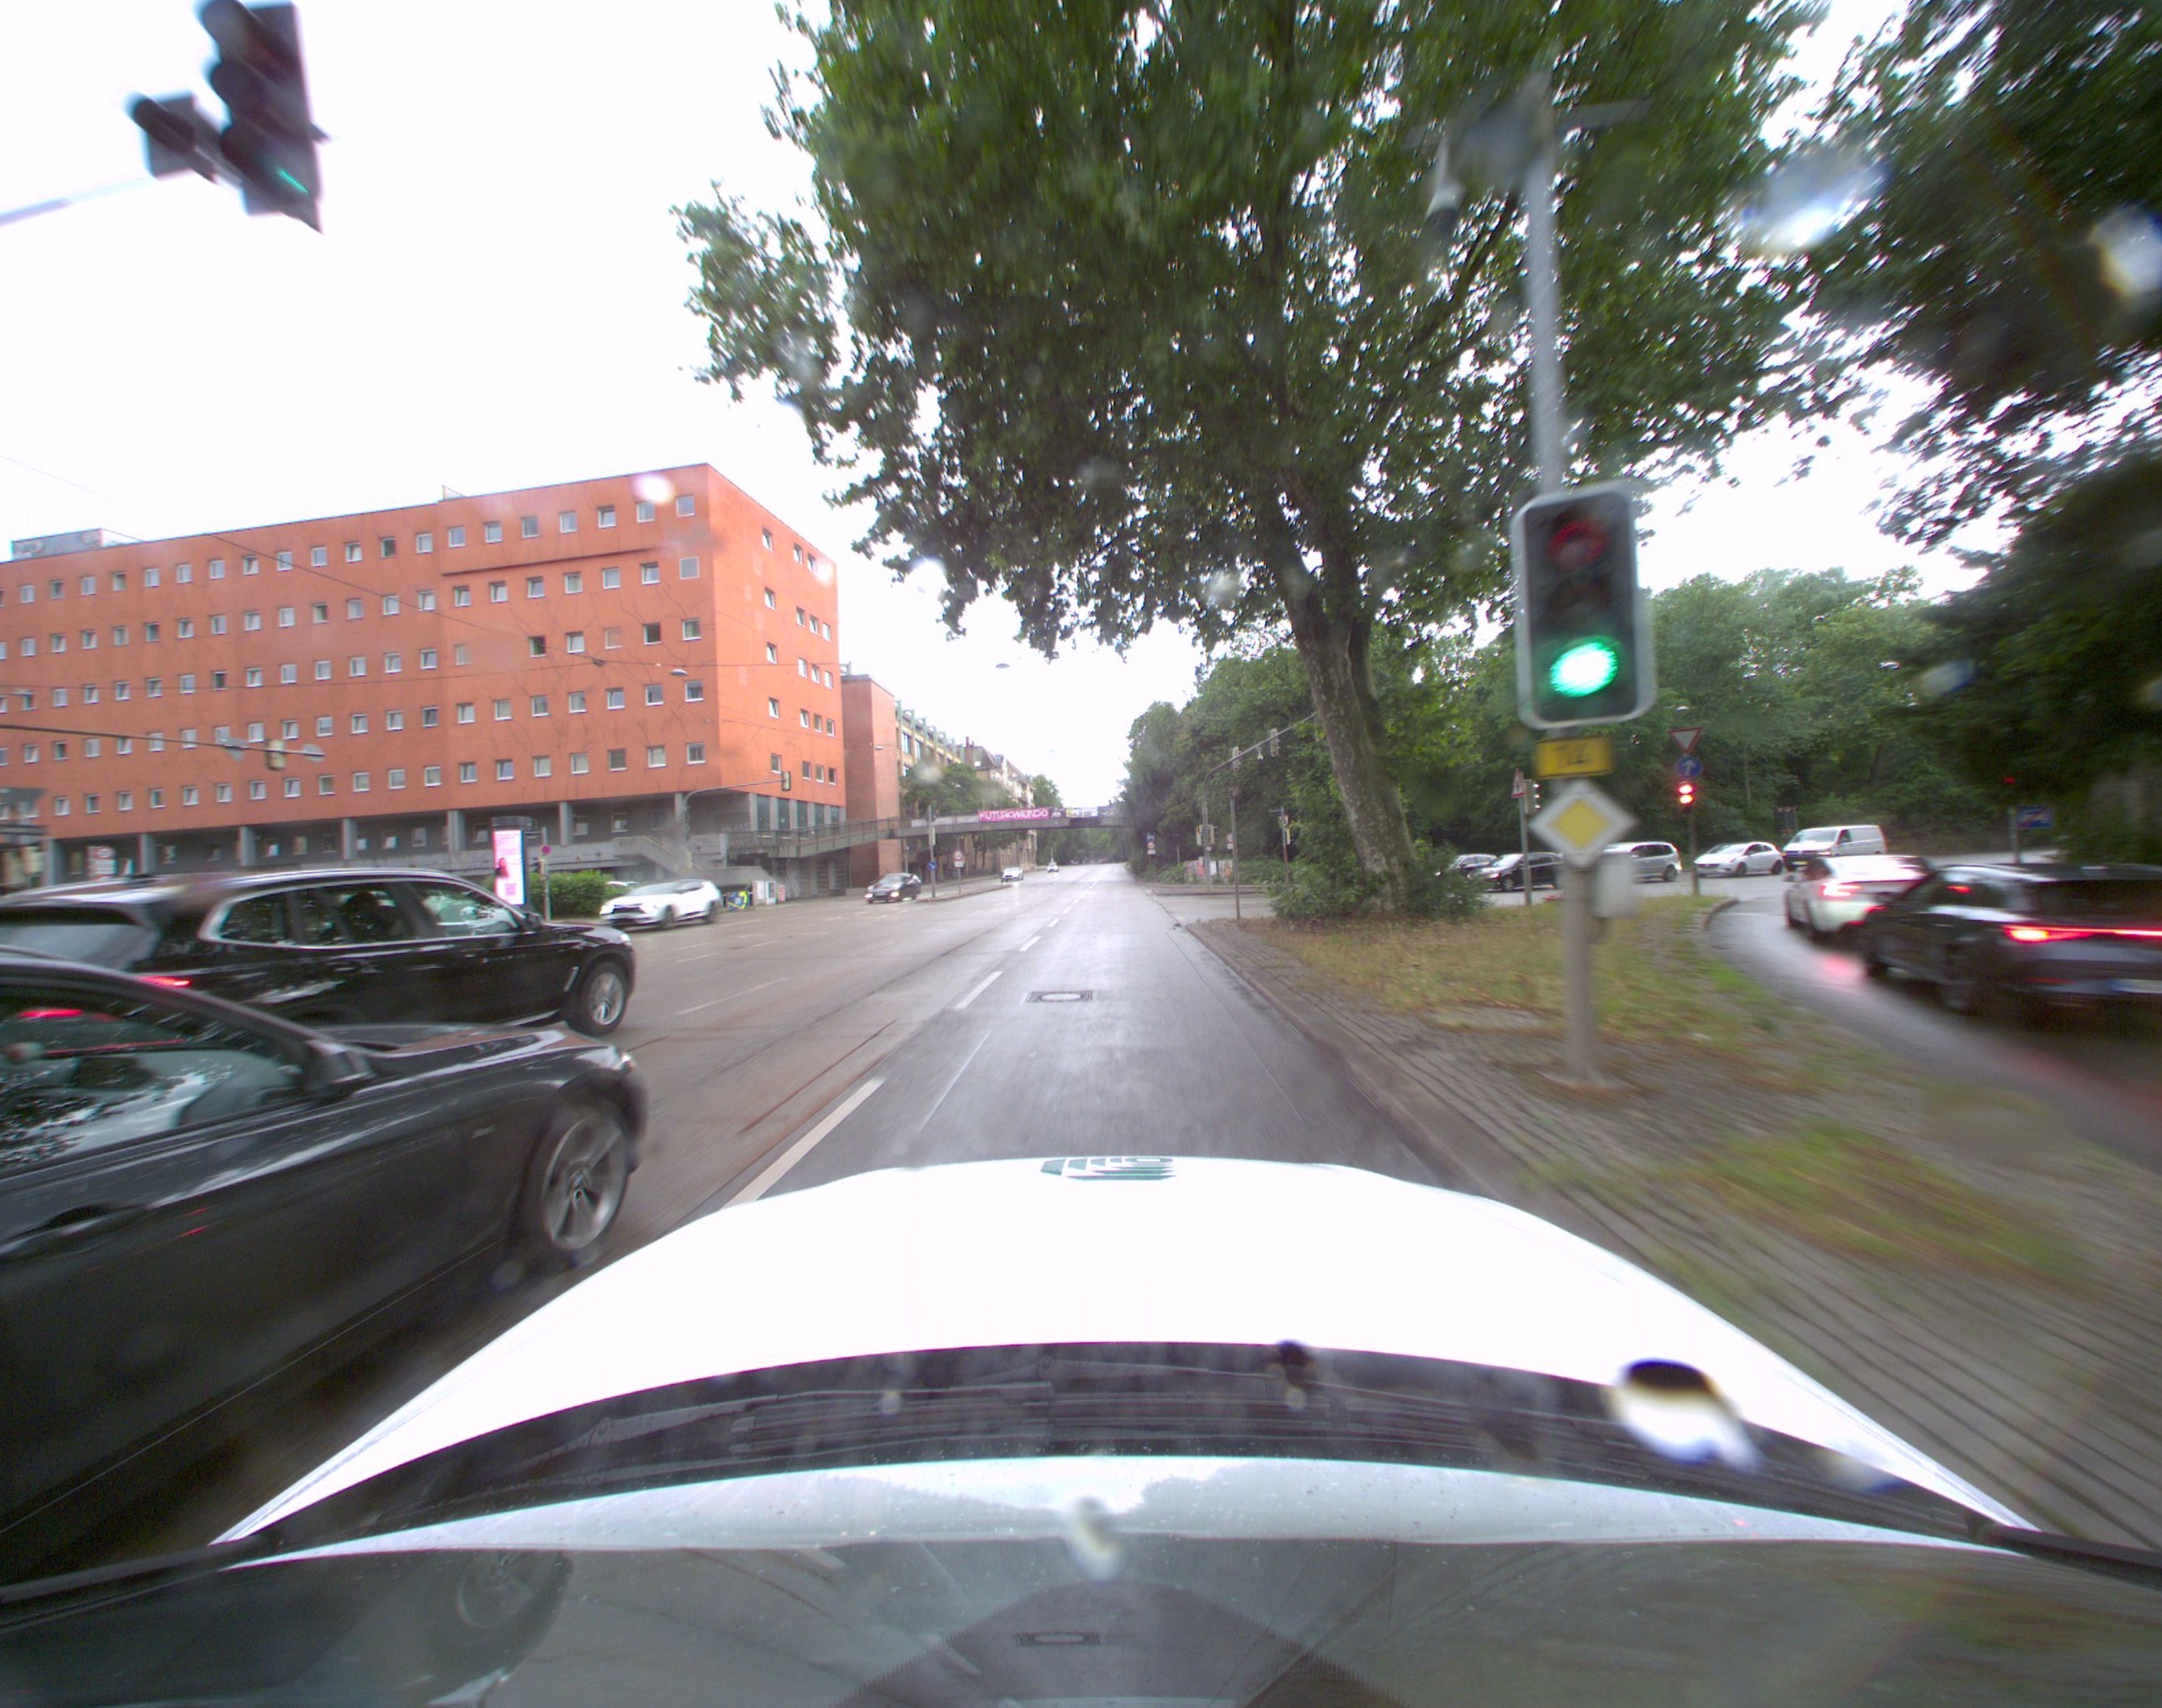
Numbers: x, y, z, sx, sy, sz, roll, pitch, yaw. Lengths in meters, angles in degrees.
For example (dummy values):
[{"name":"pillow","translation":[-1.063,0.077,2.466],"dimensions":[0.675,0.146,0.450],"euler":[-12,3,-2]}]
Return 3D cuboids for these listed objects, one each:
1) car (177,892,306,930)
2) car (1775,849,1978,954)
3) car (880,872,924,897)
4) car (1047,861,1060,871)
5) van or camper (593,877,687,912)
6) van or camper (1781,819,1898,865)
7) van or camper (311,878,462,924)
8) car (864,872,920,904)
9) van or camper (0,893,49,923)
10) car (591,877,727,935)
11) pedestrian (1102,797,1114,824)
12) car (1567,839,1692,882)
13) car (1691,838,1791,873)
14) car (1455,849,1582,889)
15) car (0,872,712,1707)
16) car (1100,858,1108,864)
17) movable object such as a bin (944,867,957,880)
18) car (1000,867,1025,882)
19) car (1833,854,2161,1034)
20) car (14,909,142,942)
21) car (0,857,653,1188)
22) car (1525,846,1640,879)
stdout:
[{"name":"car","translation":[-40.849,2.740,39.764],"dimensions":[1.700,1.612,4.096],"euler":[0,-1,9]},{"name":"car","translation":[13.579,0.684,14.209],"dimensions":[1.834,1.448,4.647],"euler":[2,1,36]},{"name":"car","translation":[-11.977,2.008,54.695],"dimensions":[1.701,1.464,4.046],"euler":[-3,-1,4]},{"name":"car","translation":[-4.264,1.896,126.053],"dimensions":[1.594,1.499,3.714],"euler":[-4,-1,3]},{"name":"van or camper","translation":[-23.466,2.156,43.433],"dimensions":[3.965,1.627,1.918],"euler":[-2,-1,7]},{"name":"van or camper","translation":[34.306,-0.530,36.857],"dimensions":[4.867,1.947,1.894],"euler":[-1,-1,-21]},{"name":"van or camper","translation":[-33.458,2.196,39.520],"dimensions":[2.114,1.977,5.465],"euler":[0,-1,8]},{"name":"car","translation":[-9.484,1.684,41.126],"dimensions":[1.676,1.436,3.865],"euler":[-3,-1,3]},{"name":"van or camper","translation":[-75.241,3.755,56.284],"dimensions":[1.956,1.978,4.386],"euler":[0,-1,9]},{"name":"car","translation":[-13.766,1.637,26.915],"dimensions":[1.881,1.610,4.460],"euler":[-2,-1,4]},{"name":"pedestrian","translation":[2.363,-3.834,71.685],"dimensions":[0.952,2.345,1.005],"euler":[0,-1,-4]},{"name":"car","translation":[22.118,0.273,32.906],"dimensions":[4.203,1.680,1.897],"euler":[0,-1,-15]},{"name":"car","translation":[28.339,0.077,34.983],"dimensions":[3.866,1.461,1.646],"euler":[0,-1,-21]},{"name":"car","translation":[16.632,0.550,31.034],"dimensions":[4.193,1.460,1.784],"euler":[0,-1,-15]},{"name":"car","translation":[-2.800,0.829,1.728],"dimensions":[1.769,1.458,4.480],"euler":[-3,-1,3]},{"name":"car","translation":[6.574,1.948,232.223],"dimensions":[2.000,1.643,4.371],"euler":[-2,-1,-3]},{"name":"movable object such as a bin","translation":[-16.431,2.422,102.295],"dimensions":[1.277,1.518,1.274],"euler":[-2,-1,3]},{"name":"car","translation":[-6.778,2.026,81.347],"dimensions":[1.823,1.393,4.408],"euler":[-4,-1,3]},{"name":"car","translation":[9.578,0.730,8.399],"dimensions":[1.732,1.403,4.441],"euler":[1,0,30]},{"name":"car","translation":[-47.748,3.393,38.855],"dimensions":[1.517,1.294,3.538],"euler":[-2,-2,20]},{"name":"car","translation":[-5.539,0.878,6.359],"dimensions":[1.801,1.656,4.448],"euler":[0,-1,3]},{"name":"car","translation":[22.338,0.377,36.281],"dimensions":[4.439,1.402,1.820],"euler":[0,-1,-15]}]
